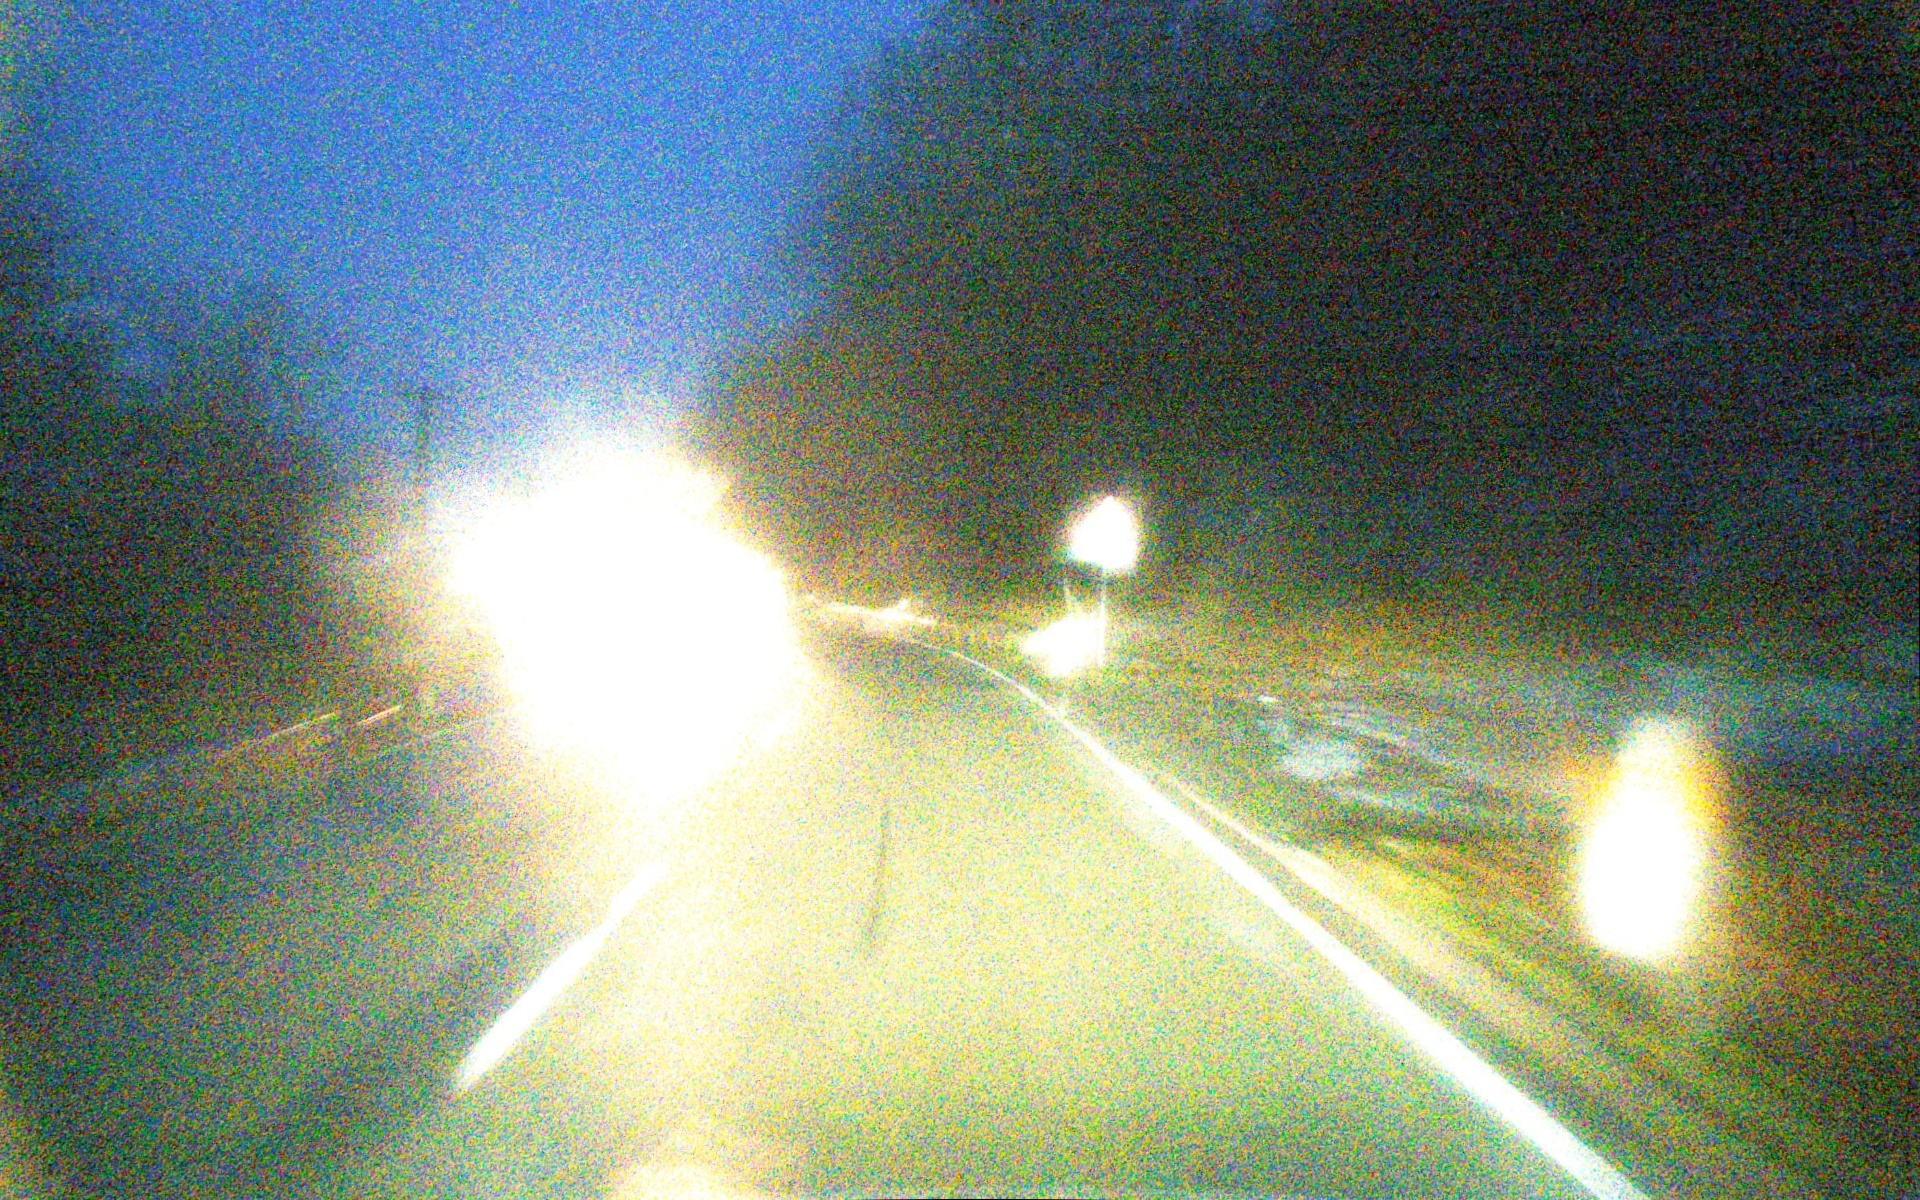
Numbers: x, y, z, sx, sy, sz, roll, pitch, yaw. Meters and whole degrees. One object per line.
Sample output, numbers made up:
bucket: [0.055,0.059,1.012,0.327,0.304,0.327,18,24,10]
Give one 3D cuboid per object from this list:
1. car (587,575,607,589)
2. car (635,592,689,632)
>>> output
car: [-39.176,-1.929,178.387,1.960,1.497,3.822,1,1,-14]
car: [-15.351,0.591,85.106,1.965,1.959,3.974,1,0,-21]
